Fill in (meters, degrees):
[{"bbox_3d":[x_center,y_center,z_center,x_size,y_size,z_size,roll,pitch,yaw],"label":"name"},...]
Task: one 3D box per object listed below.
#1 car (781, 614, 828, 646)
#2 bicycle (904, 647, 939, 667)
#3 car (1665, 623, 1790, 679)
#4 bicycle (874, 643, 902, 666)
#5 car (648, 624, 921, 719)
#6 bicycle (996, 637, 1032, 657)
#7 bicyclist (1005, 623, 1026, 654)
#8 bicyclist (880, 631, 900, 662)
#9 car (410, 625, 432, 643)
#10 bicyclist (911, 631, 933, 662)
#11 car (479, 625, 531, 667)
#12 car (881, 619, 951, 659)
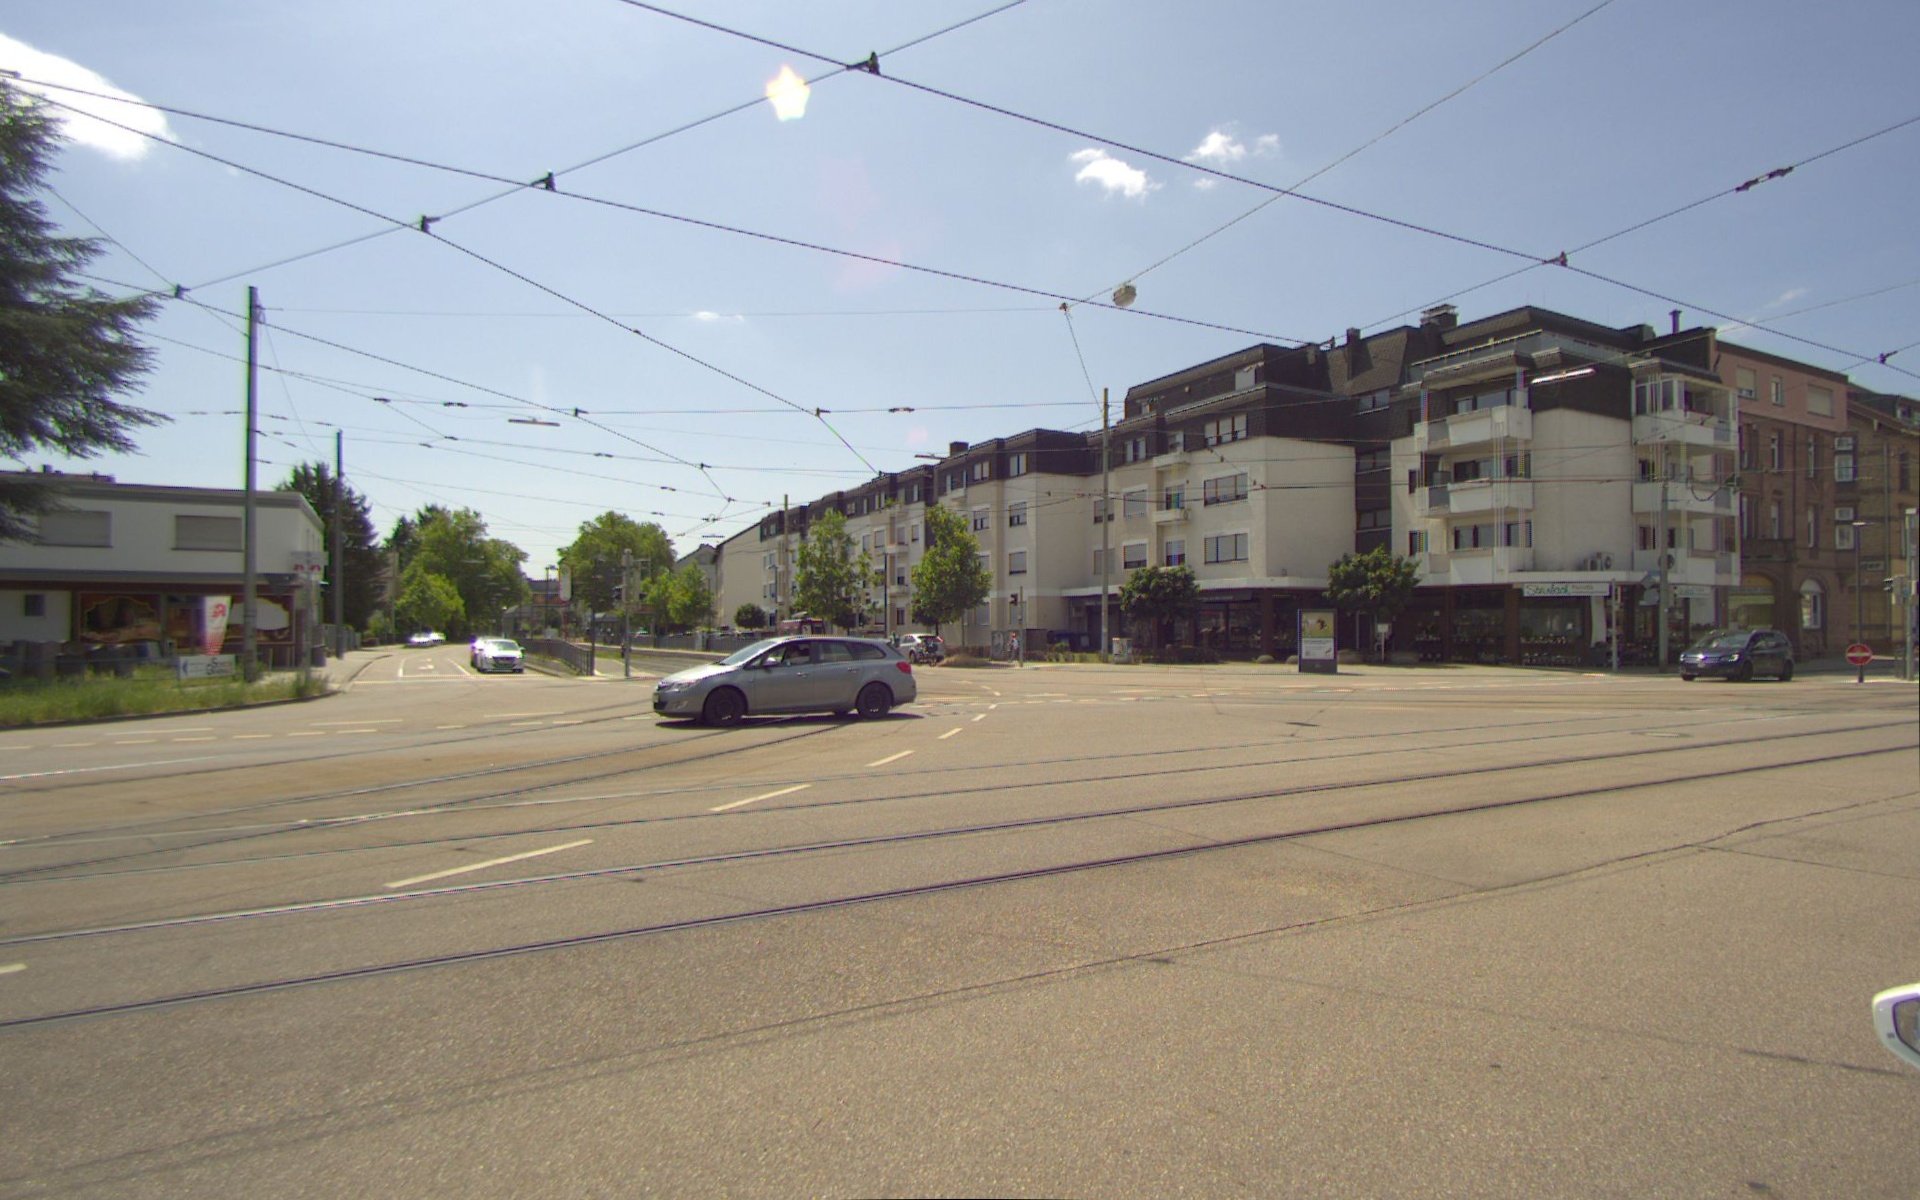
[{"bbox_3d":[-10.337,2.004,66.480,1.974,2.040,3.973,1,-2,-27],"label":"car"},{"bbox_3d":[-1.795,2.646,46.730,0.414,0.892,2.234,2,-4,-37],"label":"bicycle"},{"bbox_3d":[24.516,1.586,32.041,4.229,1.705,1.715,1,-2,-31],"label":"car"},{"bbox_3d":[-3.581,2.699,49.776,0.511,1.115,2.241,2,-4,-29],"label":"bicycle"},{"bbox_3d":[-3.060,1.174,17.613,4.346,1.491,1.986,1,-2,-28],"label":"car"},{"bbox_3d":[2.610,2.282,48.667,0.663,0.946,2.241,2,-4,-28],"label":"bicycle"},{"bbox_3d":[2.672,1.870,48.555,0.648,1.487,0.842,2,-4,-30],"label":"bicyclist"},{"bbox_3d":[-3.460,2.316,49.610,0.727,1.506,0.848,1,-4,-27],"label":"bicyclist"},{"bbox_3d":[-55.809,3.546,104.000,1.975,1.730,3.972,2,-4,-28],"label":"car"},{"bbox_3d":[-1.773,2.165,46.728,0.625,1.441,0.955,2,-4,-36],"label":"bicyclist"},{"bbox_3d":[-20.163,2.067,44.454,1.876,1.747,3.828,2,-4,-27],"label":"car"},{"bbox_3d":[-2.313,1.996,51.508,1.977,1.937,3.968,1,-2,-30],"label":"car"}]
